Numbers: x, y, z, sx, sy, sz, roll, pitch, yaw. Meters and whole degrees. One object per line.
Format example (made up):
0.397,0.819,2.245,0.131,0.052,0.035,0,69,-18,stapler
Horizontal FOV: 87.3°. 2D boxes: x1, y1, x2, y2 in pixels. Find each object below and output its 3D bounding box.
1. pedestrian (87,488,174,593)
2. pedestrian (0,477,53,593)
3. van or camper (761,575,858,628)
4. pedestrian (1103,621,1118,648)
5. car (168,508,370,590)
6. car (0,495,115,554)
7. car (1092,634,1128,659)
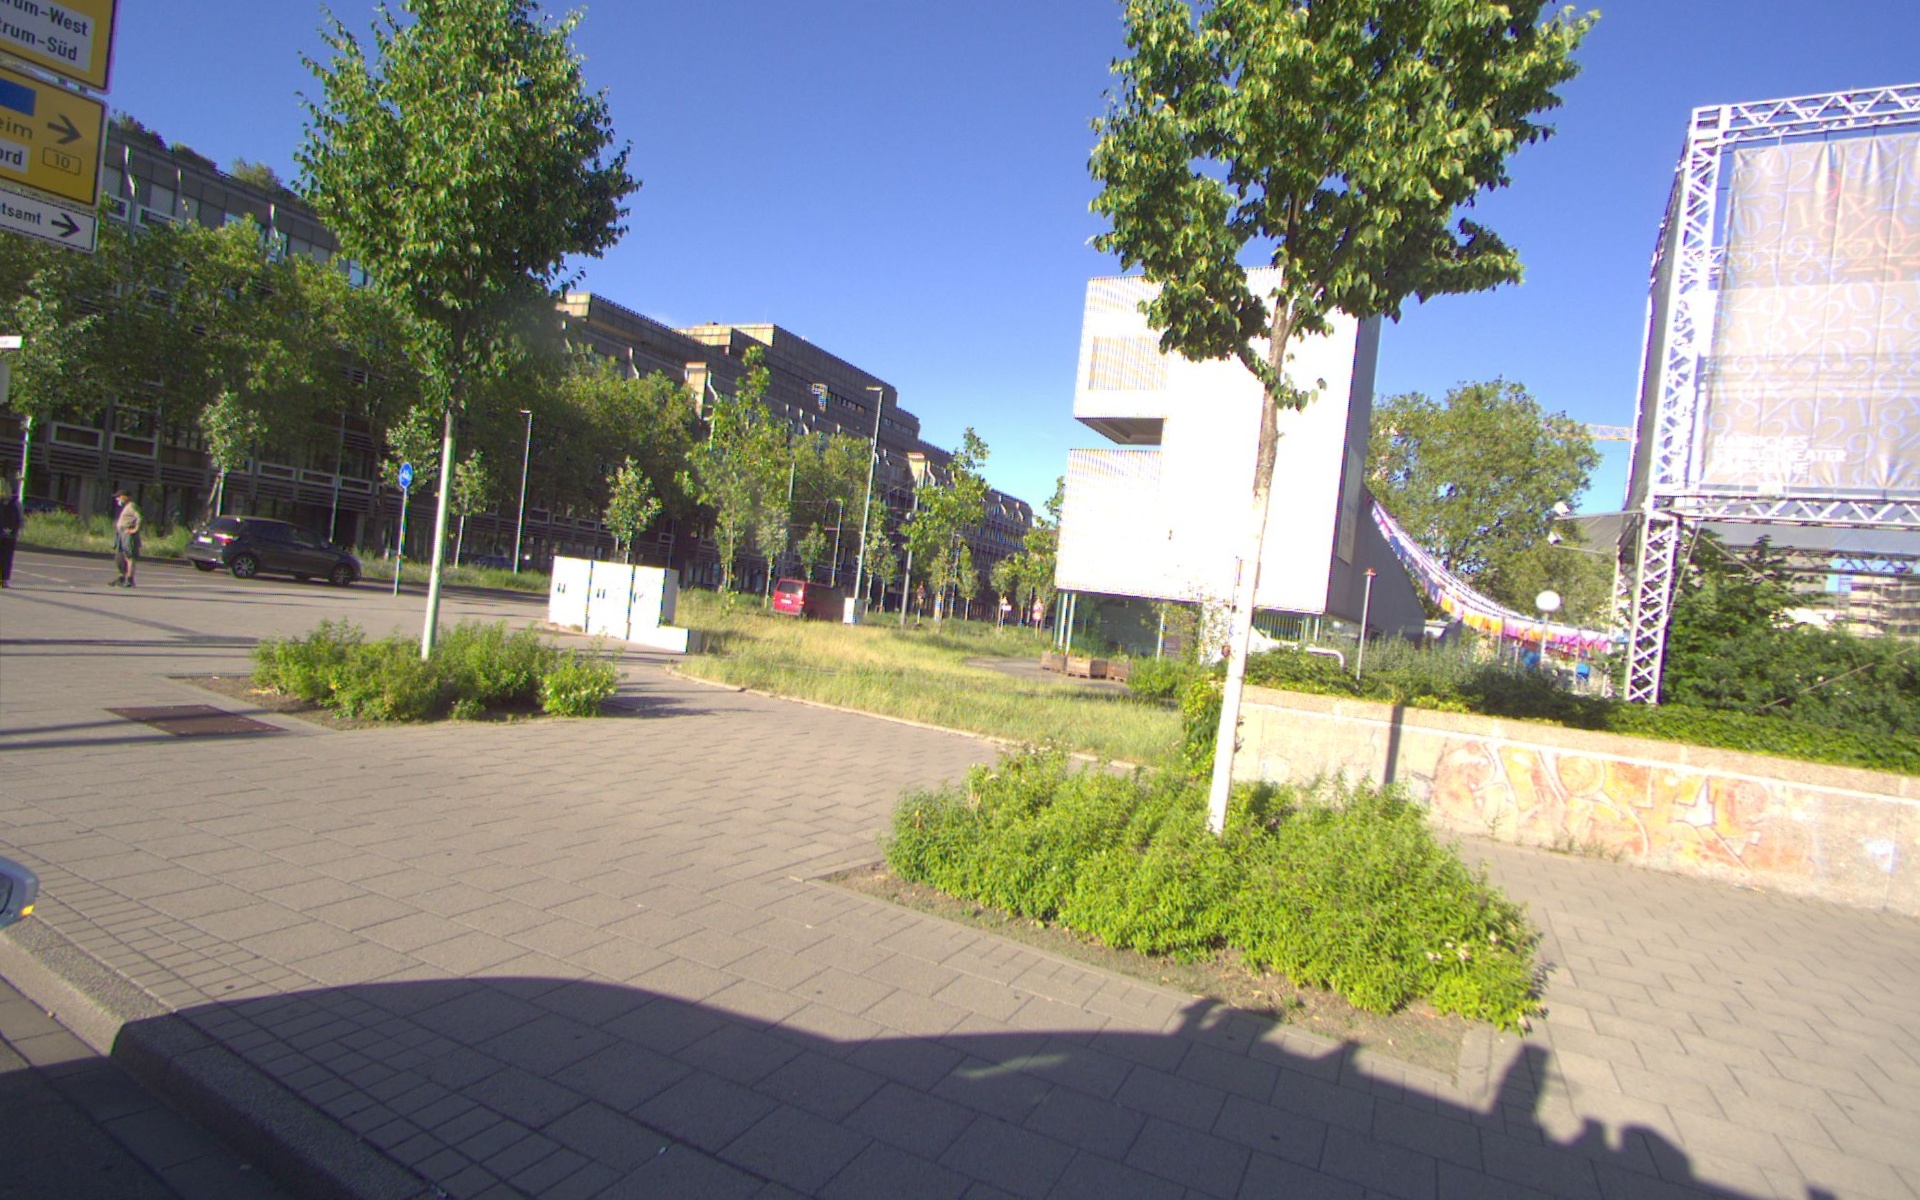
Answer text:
-14.862,-1.049,18.033,0.755,1.728,0.873,7,1,30,pedestrian
-14.235,-0.992,14.966,0.859,1.634,0.767,7,1,30,pedestrian
-7.228,0.125,48.775,1.972,2.038,4.837,7,-1,28,van or camper
9.171,2.081,61.161,0.520,1.571,0.638,7,-1,31,pedestrian
-17.533,-1.245,25.735,1.642,1.528,3.871,7,-1,25,car
-33.146,-2.769,35.761,1.792,1.704,4.302,7,-1,21,car
10.826,3.338,72.300,1.407,1.474,3.553,7,-2,26,car
